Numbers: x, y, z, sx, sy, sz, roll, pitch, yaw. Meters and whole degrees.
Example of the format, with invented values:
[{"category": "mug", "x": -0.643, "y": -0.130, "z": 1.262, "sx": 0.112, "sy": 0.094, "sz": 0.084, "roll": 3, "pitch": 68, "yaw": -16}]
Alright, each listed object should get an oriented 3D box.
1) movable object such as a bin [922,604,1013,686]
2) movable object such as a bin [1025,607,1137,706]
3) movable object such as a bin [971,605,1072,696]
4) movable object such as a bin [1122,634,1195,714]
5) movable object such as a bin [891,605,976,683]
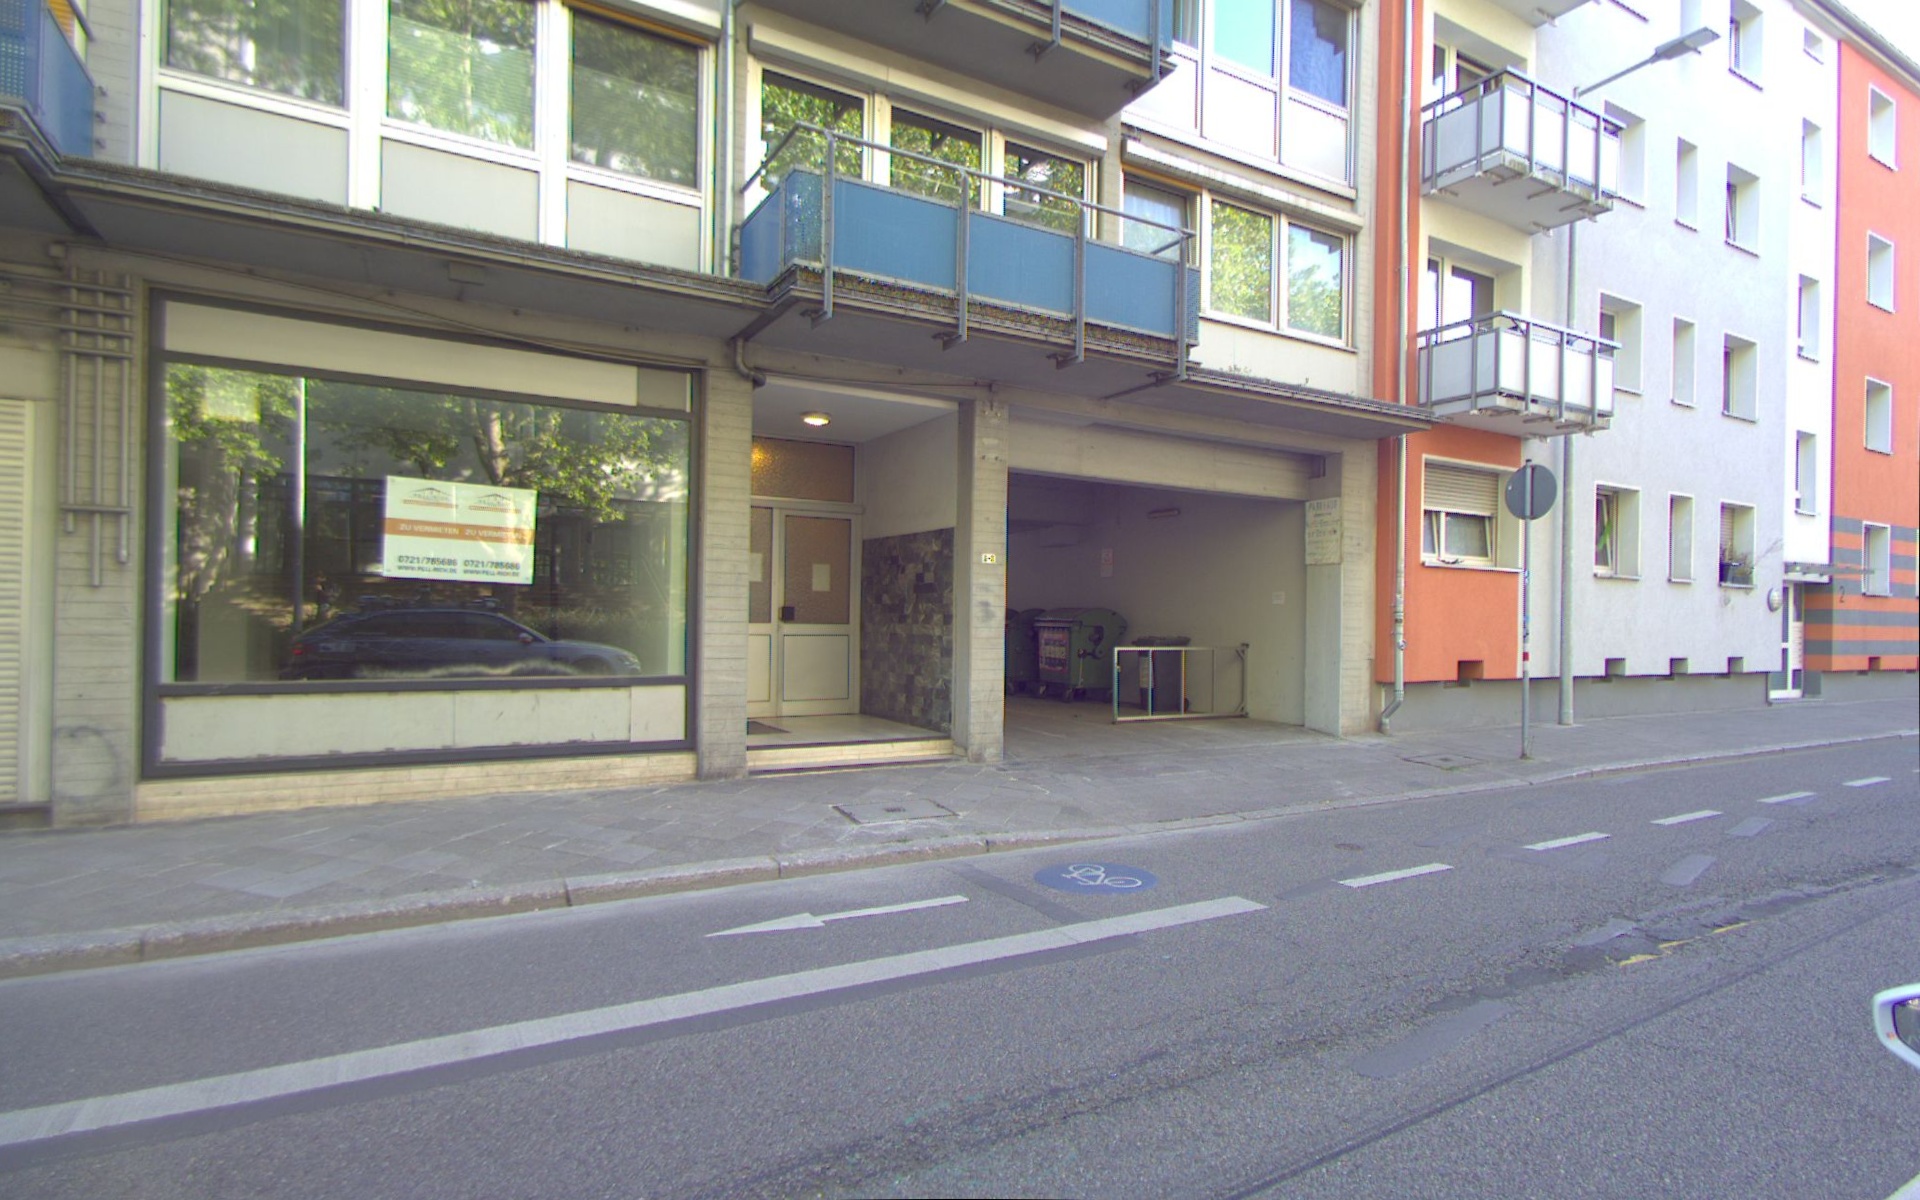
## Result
[{"category": "movable object such as a bin", "x": 0.131, "y": 0.822, "z": 18.772, "sx": 1.182, "sy": 1.452, "sz": 1.300, "roll": 2, "pitch": 0, "yaw": -30}, {"category": "movable object such as a bin", "x": 1.884, "y": 0.861, "z": 15.811, "sx": 1.182, "sy": 1.452, "sz": 1.300, "roll": 2, "pitch": 0, "yaw": -30}, {"category": "movable object such as a bin", "x": 1.044, "y": 0.842, "z": 17.198, "sx": 1.182, "sy": 1.452, "sz": 1.300, "roll": 2, "pitch": 0, "yaw": -30}, {"category": "movable object such as a bin", "x": 2.862, "y": 1.055, "z": 14.528, "sx": 0.707, "sy": 1.089, "sz": 0.735, "roll": 2, "pitch": 0, "yaw": -30}, {"category": "movable object such as a bin", "x": -0.537, "y": 0.852, "z": 19.936, "sx": 1.182, "sy": 1.452, "sz": 1.300, "roll": 2, "pitch": 0, "yaw": -30}]
